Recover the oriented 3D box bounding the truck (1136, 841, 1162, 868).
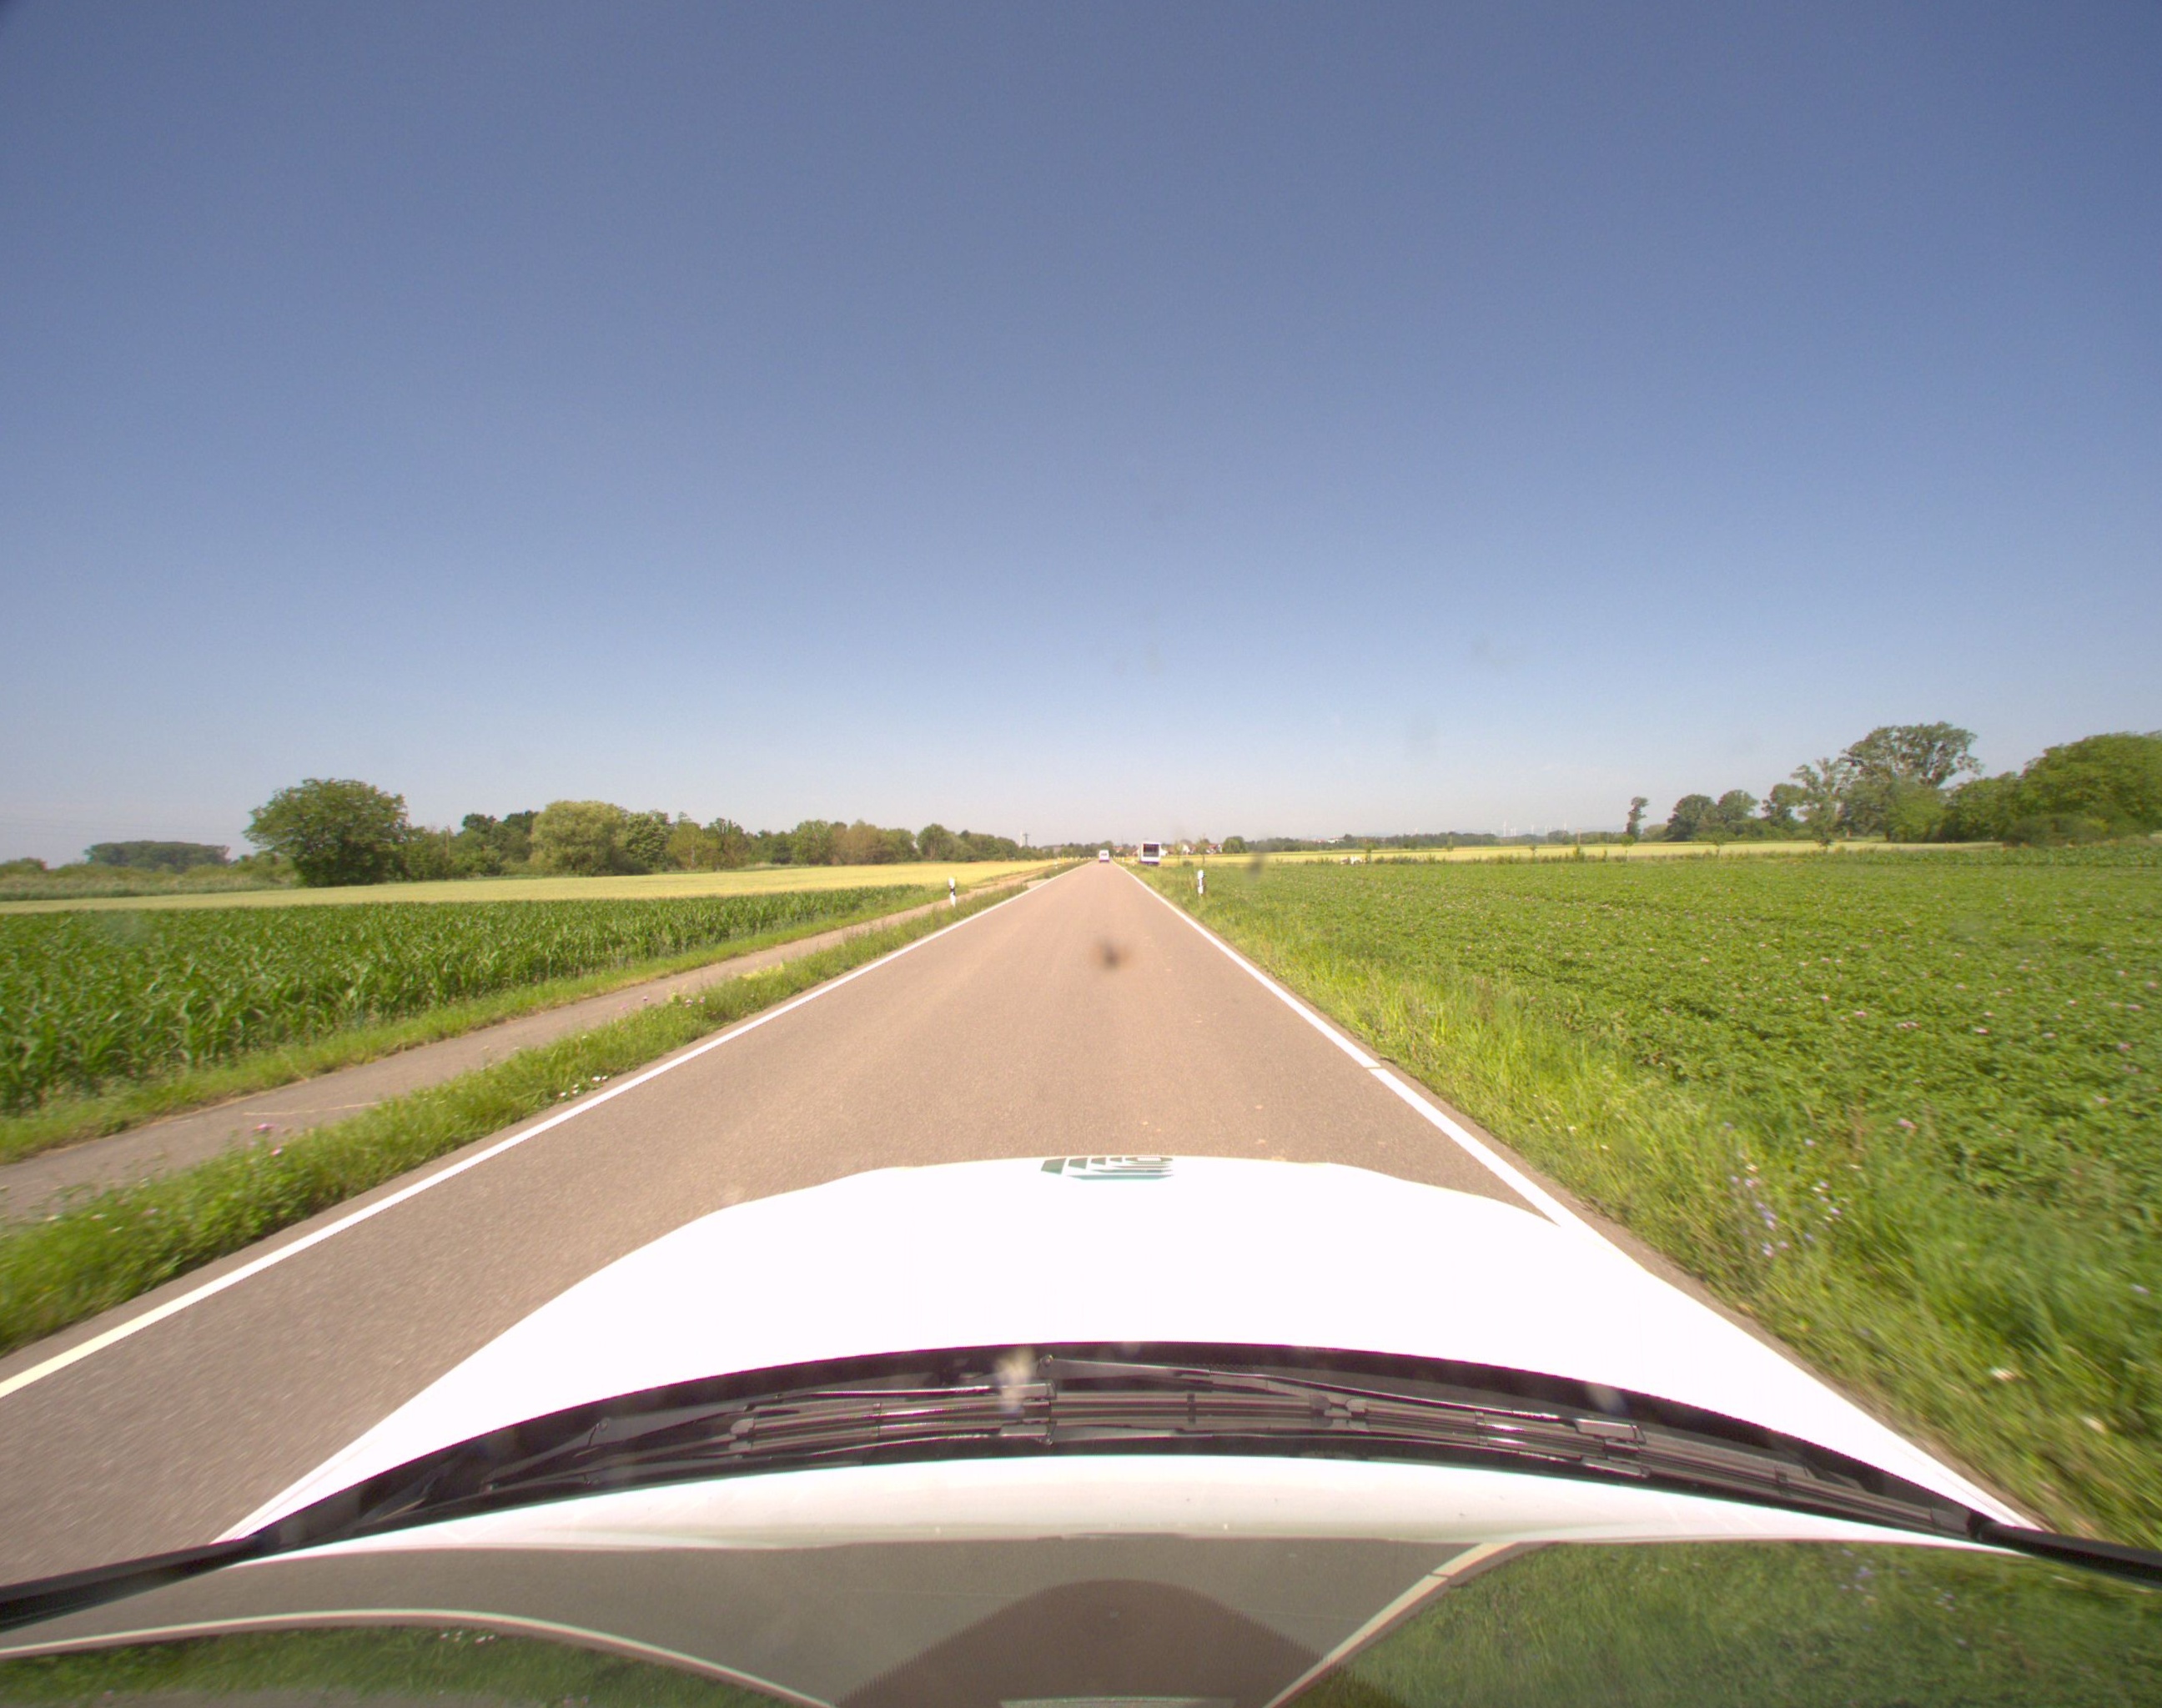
[{"bbox_3d":[7.831,0.122,94.165,2.328,2.942,7.007,2,0,0],"label":"truck"}]

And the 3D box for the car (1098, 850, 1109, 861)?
[{"bbox_3d":[4.612,0.291,166.359,2.099,2.304,5.497,0,0,2],"label":"car"}]

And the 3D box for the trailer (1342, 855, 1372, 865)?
[{"bbox_3d":[35.241,0.787,104.111,3.560,1.189,1.669,0,0,13],"label":"trailer"}]
